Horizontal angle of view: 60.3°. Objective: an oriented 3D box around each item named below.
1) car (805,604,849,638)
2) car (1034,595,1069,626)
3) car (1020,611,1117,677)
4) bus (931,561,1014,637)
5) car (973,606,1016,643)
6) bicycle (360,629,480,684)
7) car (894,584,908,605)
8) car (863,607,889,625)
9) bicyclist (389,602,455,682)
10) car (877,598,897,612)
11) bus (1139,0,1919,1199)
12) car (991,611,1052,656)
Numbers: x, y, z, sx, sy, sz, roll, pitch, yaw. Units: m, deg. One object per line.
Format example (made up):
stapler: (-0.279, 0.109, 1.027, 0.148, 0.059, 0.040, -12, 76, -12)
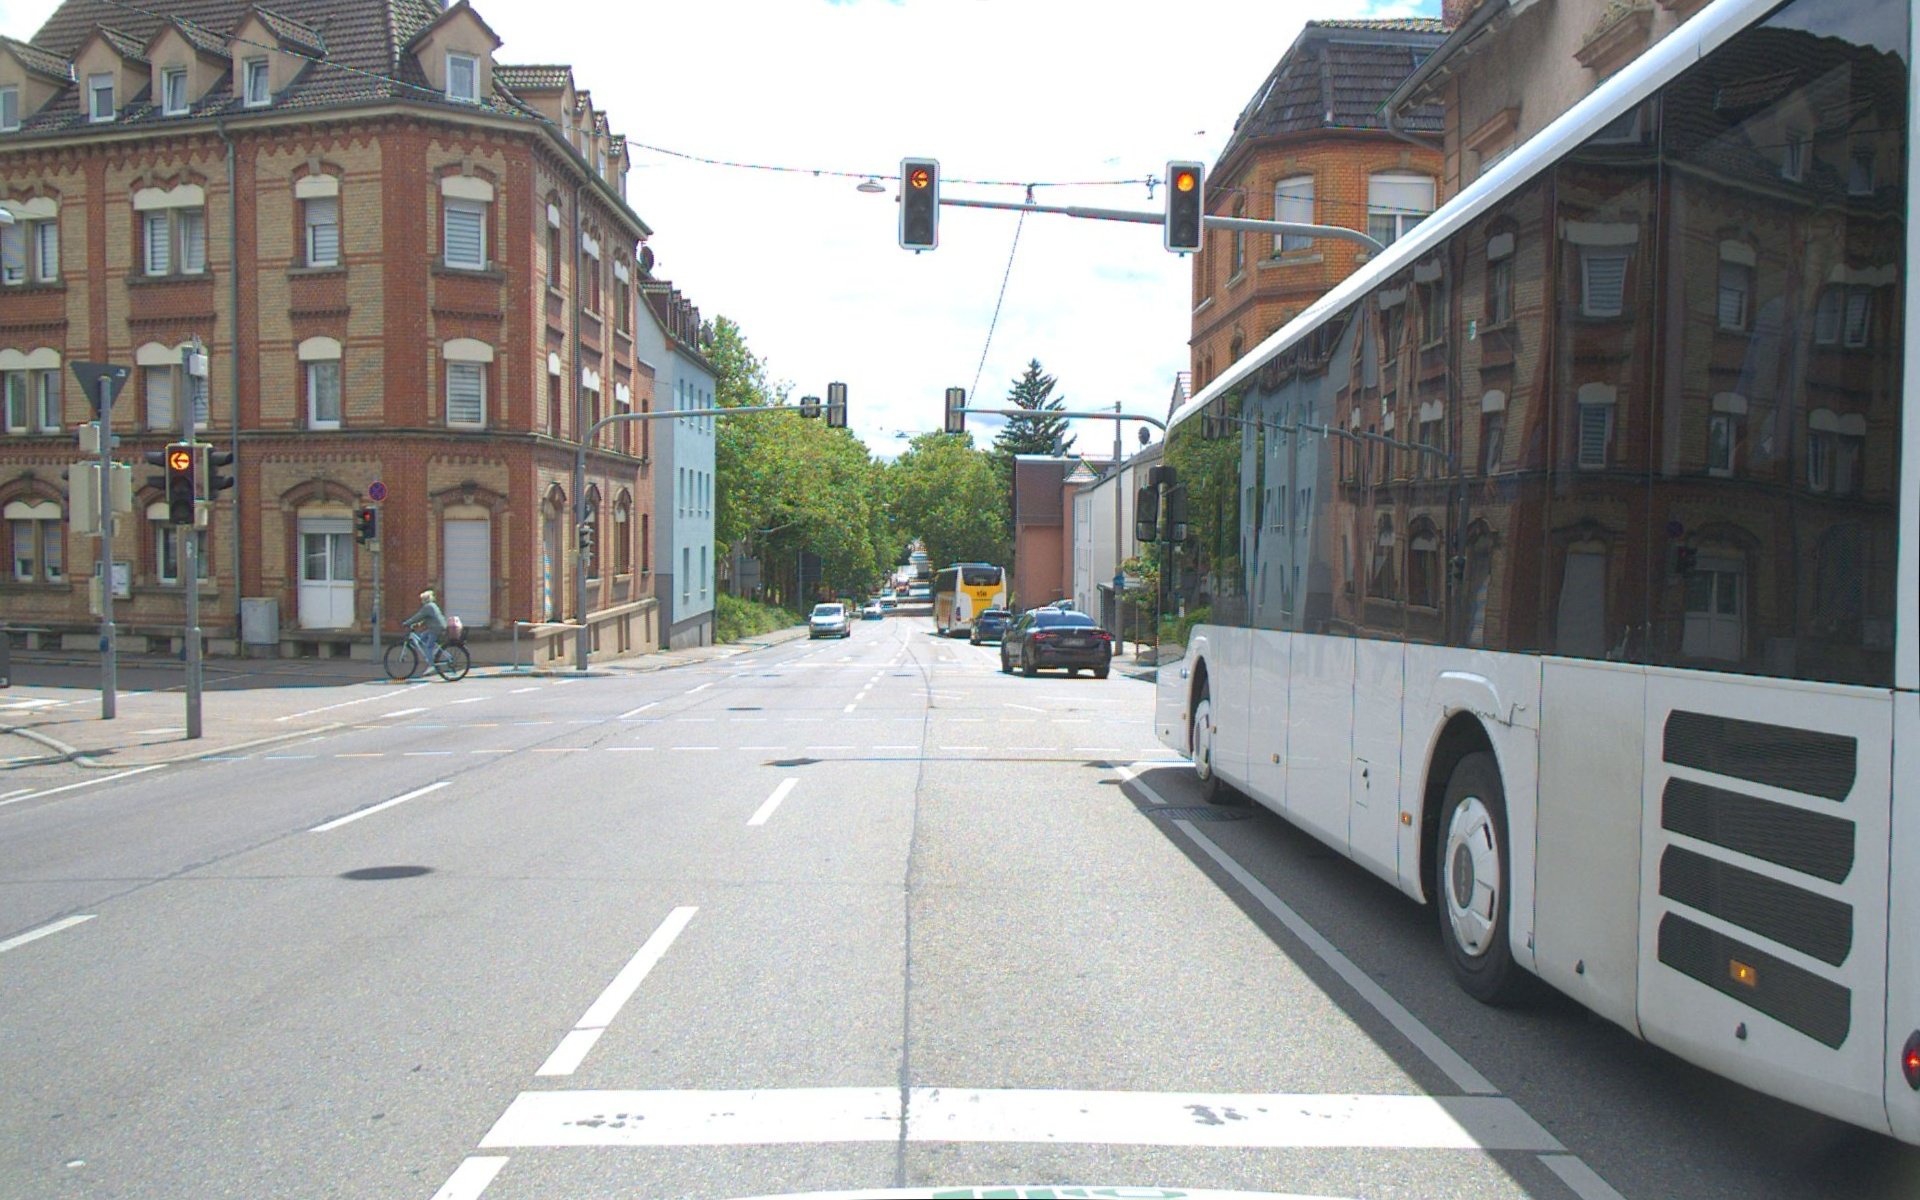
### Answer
car: (-6.574, 1.029, 82.238, 1.896, 1.591, 4.388, 0, 0, -1)
car: (5.147, 0.552, 93.386, 1.731, 1.695, 3.999, 0, 0, -1)
car: (2.289, 0.916, 35.723, 1.761, 1.298, 3.999, -1, 0, -1)
bus: (0.497, -0.055, 85.996, 3.236, 3.694, 11.232, -1, 0, -5)
car: (1.337, 0.966, 66.132, 1.576, 1.400, 3.999, 0, 0, -1)
bicycle: (-10.428, 1.087, 31.968, 2.138, 1.037, 0.606, 0, 0, 7)
car: (-9.156, -0.884, 256.913, 2.097, 3.124, 5.625, 1, 0, -1)
car: (-6.638, 1.250, 131.060, 1.827, 1.391, 4.546, 0, 0, -1)
bicyclist: (-10.393, 0.812, 31.969, 1.048, 1.526, 0.590, 0, 0, 7)
car: (-8.496, 0.552, 192.801, 2.162, 1.641, 4.546, 0, 0, -1)
bus: (3.226, -0.161, 9.315, 2.845, 3.571, 12.484, 1, 0, -1)
car: (2.025, 1.090, 55.669, 1.827, 1.391, 4.546, 0, 0, -1)
